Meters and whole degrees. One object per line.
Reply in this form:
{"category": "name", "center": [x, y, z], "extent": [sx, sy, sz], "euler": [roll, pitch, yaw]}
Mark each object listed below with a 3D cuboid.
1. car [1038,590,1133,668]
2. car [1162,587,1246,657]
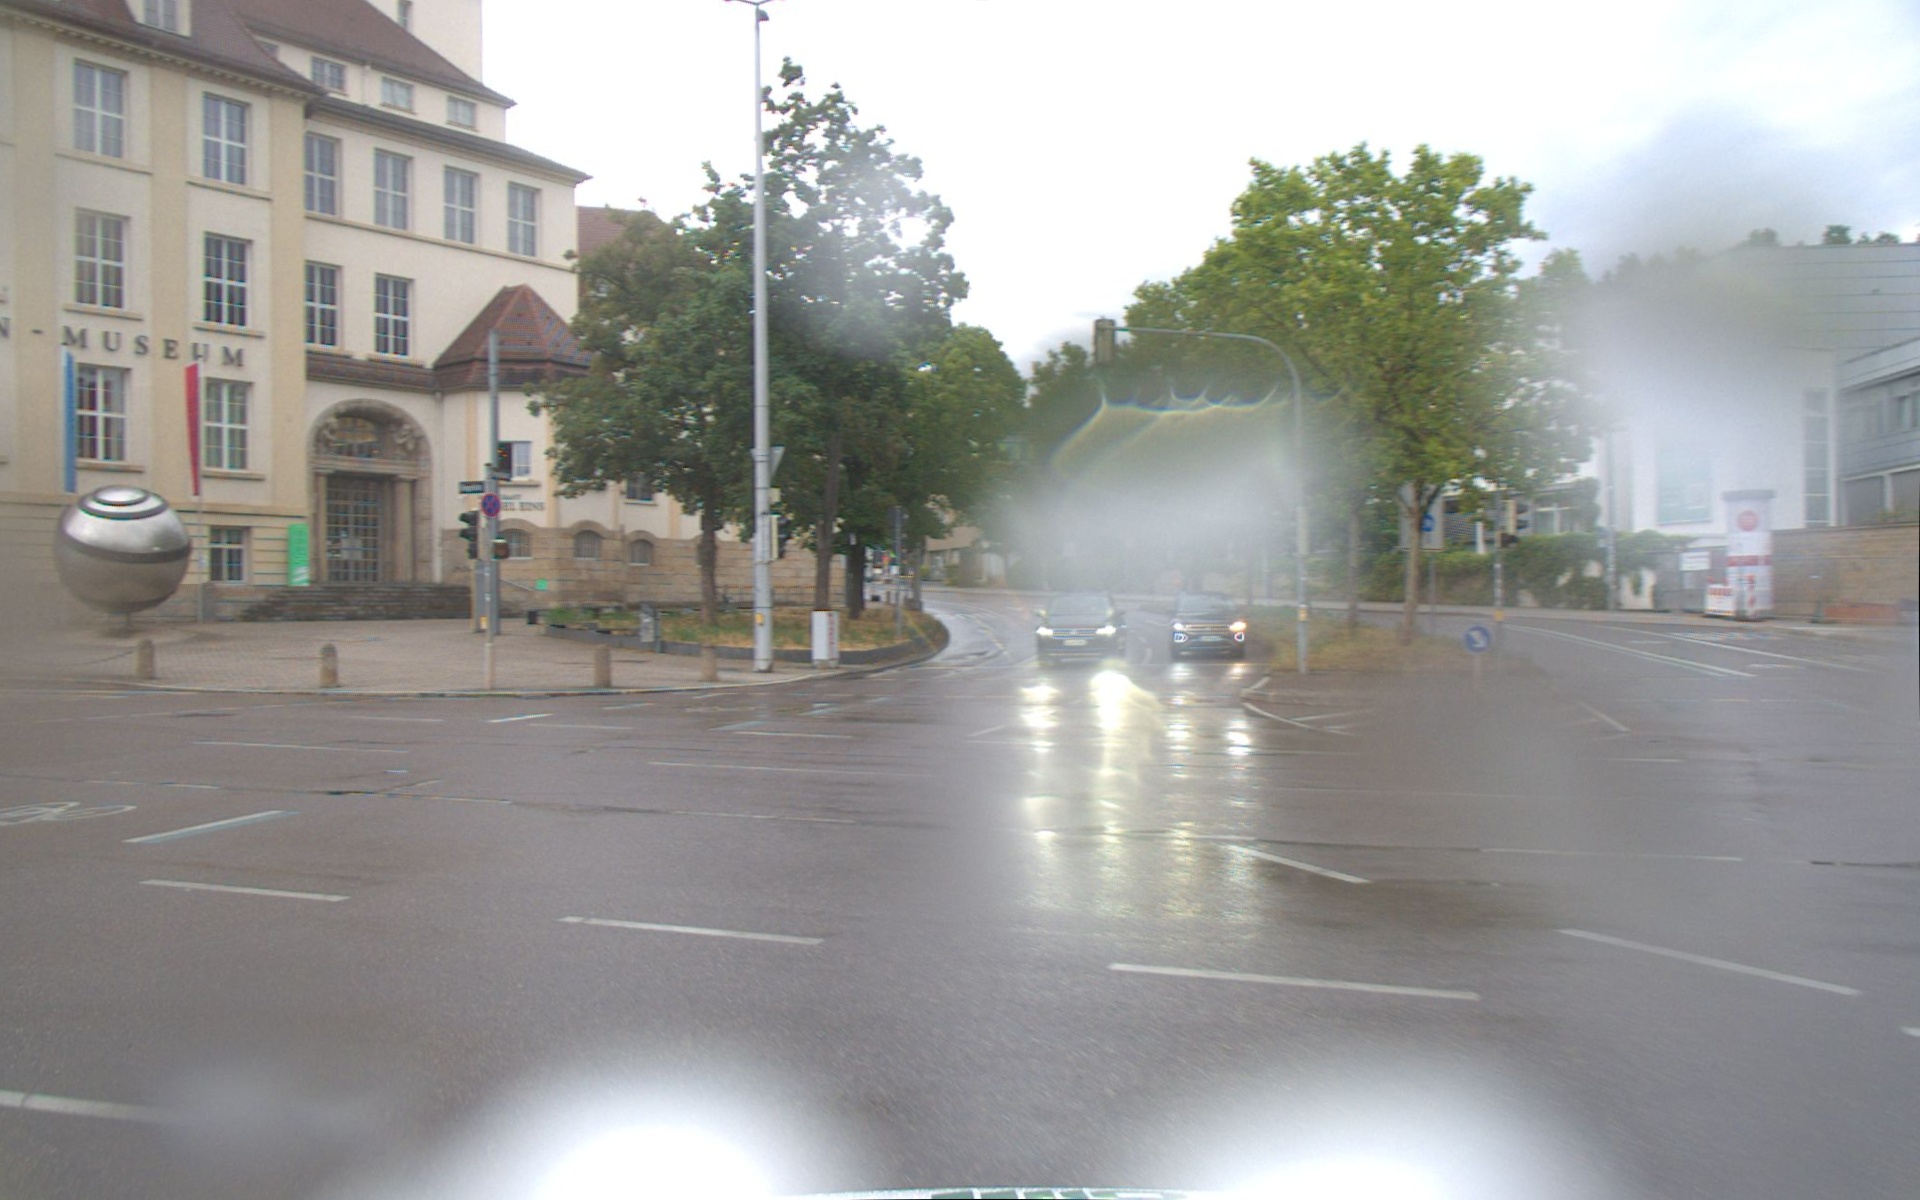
{"category": "car", "center": [2.942, 0.618, 38.026], "extent": [1.828, 1.592, 4.280], "euler": [-1, 1, 8]}
{"category": "car", "center": [5.989, 0.509, 40.920], "extent": [1.751, 1.612, 4.002], "euler": [-1, 0, 4]}
